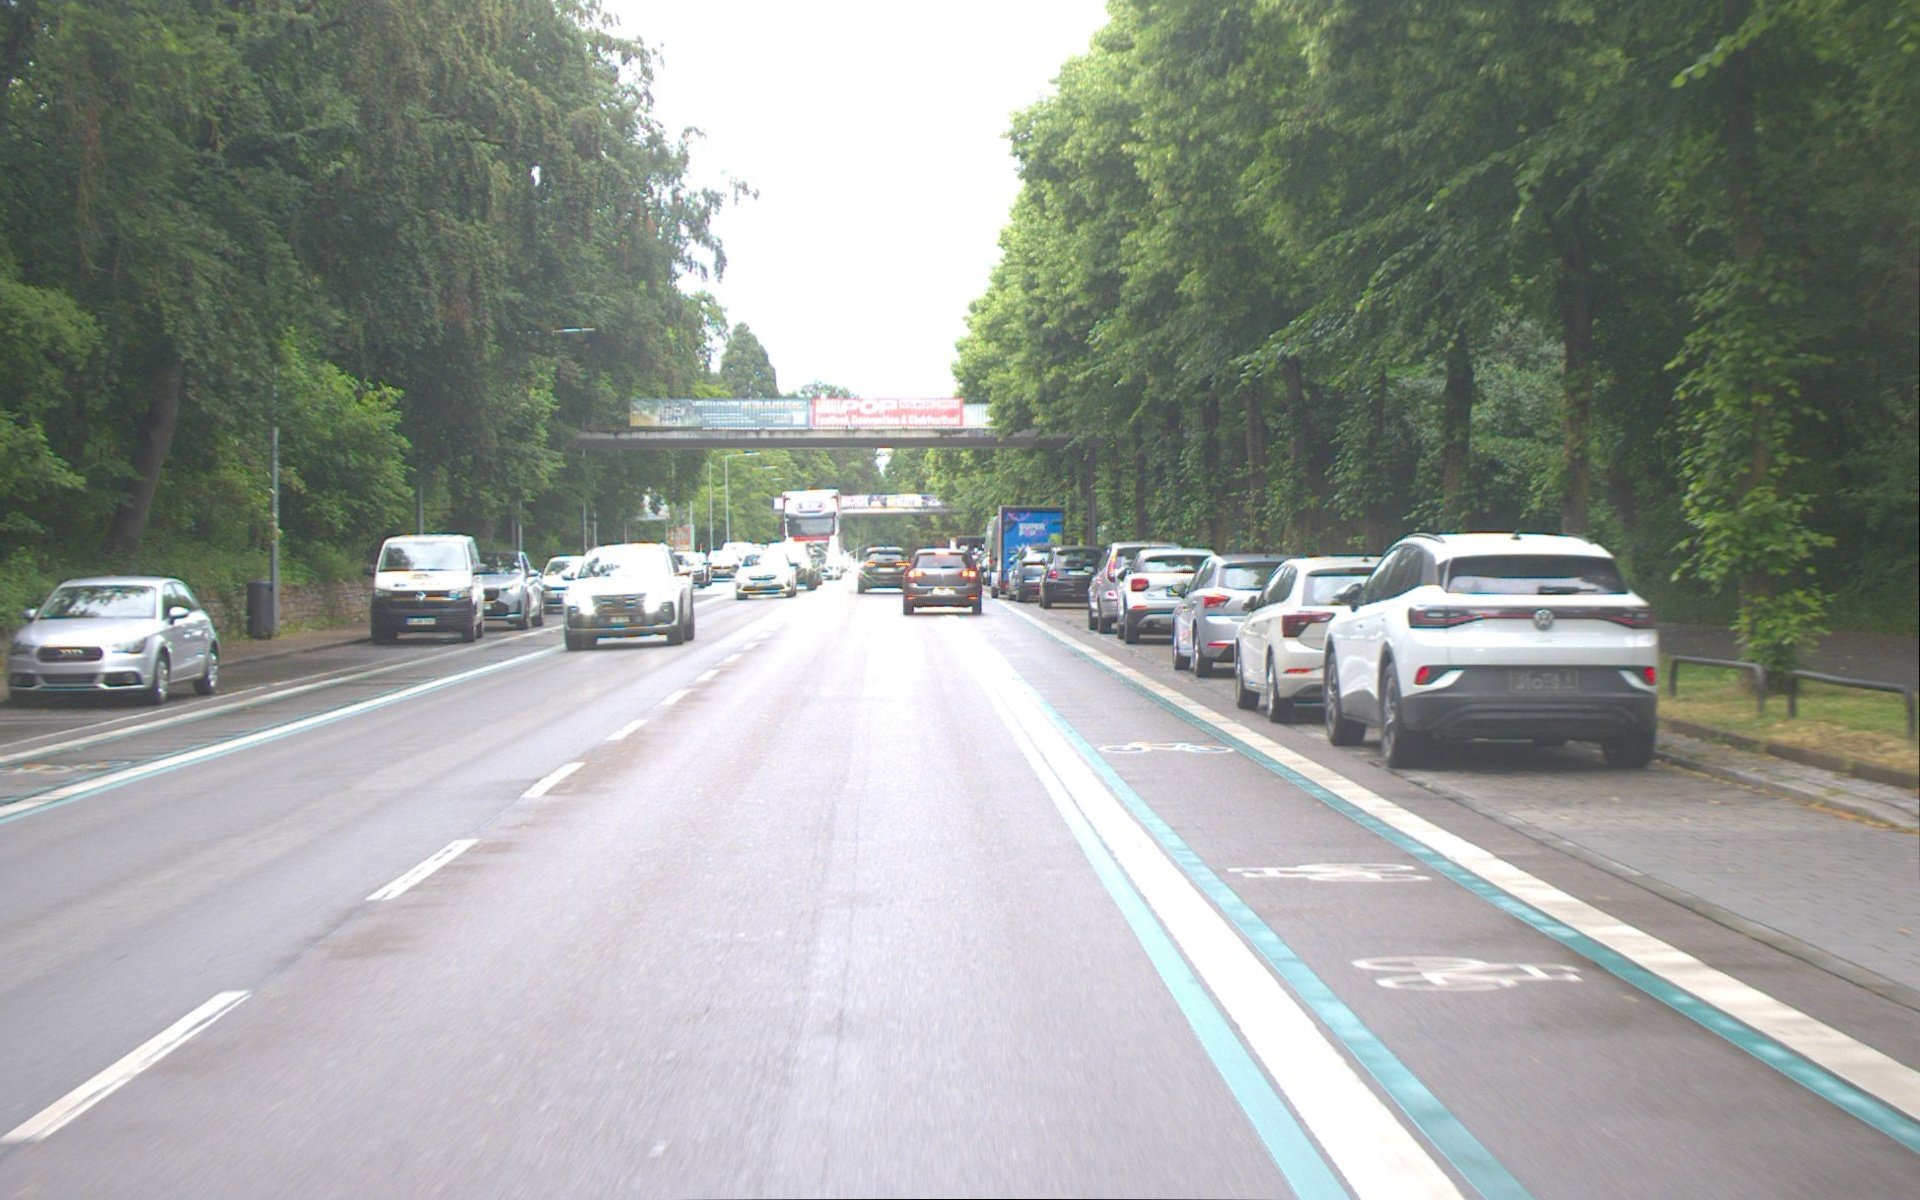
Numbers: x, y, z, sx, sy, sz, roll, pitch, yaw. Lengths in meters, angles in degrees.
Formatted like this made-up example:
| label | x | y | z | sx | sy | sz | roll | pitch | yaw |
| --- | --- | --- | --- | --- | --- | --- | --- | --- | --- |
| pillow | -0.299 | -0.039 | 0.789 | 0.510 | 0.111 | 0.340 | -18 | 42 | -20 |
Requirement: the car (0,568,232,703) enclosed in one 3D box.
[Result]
| label | x | y | z | sx | sy | sz | roll | pitch | yaw |
| --- | --- | --- | --- | --- | --- | --- | --- | --- | --- |
| car | -9.585 | 0.366 | 39.259 | 1.690 | 1.400 | 4.028 | 0 | 1 | 0 |

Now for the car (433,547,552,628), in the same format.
| label | x | y | z | sx | sy | sz | roll | pitch | yaw |
| --- | --- | --- | --- | --- | --- | --- | --- | --- | --- |
| car | -9.891 | -0.301 | 73.097 | 2.010 | 1.600 | 4.780 | -1 | 1 | -2 |

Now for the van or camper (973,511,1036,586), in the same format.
| label | x | y | z | sx | sy | sz | roll | pitch | yaw |
| --- | --- | --- | --- | --- | --- | --- | --- | --- | --- |
| van or camper | 1.648 | -1.964 | 130.170 | 2.042 | 2.720 | 6.901 | 1 | 1 | -2 |

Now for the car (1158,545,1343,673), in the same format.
| label | x | y | z | sx | sy | sz | roll | pitch | yaw |
| --- | --- | --- | --- | --- | --- | --- | --- | --- | --- |
| car | 3.466 | 0.067 | 41.608 | 1.698 | 1.448 | 4.098 | 1 | 1 | -3 |

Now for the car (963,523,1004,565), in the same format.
| label | x | y | z | sx | sy | sz | roll | pitch | yaw |
| --- | --- | --- | --- | --- | --- | --- | --- | --- | --- |
| car | 1.144 | -2.785 | 169.695 | 1.926 | 2.015 | 4.664 | 1 | 1 | -1 |

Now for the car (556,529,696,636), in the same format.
| label | x | y | z | sx | sy | sz | roll | pitch | yaw |
| --- | --- | --- | --- | --- | --- | --- | --- | --- | --- |
| car | -5.378 | -0.318 | 55.860 | 1.953 | 1.633 | 4.445 | -1 | 1 | -2 |

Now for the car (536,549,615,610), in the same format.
| label | x | y | z | sx | sy | sz | roll | pitch | yaw |
| --- | --- | --- | --- | --- | --- | --- | --- | --- | --- |
| car | -9.996 | -0.556 | 89.679 | 1.789 | 1.477 | 3.983 | -1 | 1 | -3 |

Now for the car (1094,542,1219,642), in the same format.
| label | x | y | z | sx | sy | sz | roll | pitch | yaw |
| --- | --- | --- | --- | --- | --- | --- | --- | --- | --- |
| car | 3.116 | -0.161 | 55.245 | 1.698 | 1.508 | 4.469 | 1 | 1 | -1 |

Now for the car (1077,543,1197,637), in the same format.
| label | x | y | z | sx | sy | sz | roll | pitch | yaw |
| --- | --- | --- | --- | --- | --- | --- | --- | --- | --- |
| car | 3.116 | -0.211 | 61.172 | 1.753 | 1.591 | 4.740 | 0 | 1 | -2 |

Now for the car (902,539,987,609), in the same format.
| label | x | y | z | sx | sy | sz | roll | pitch | yaw |
| --- | --- | --- | --- | --- | --- | --- | --- | --- | --- |
| car | -0.345 | -0.599 | 76.574 | 1.818 | 1.503 | 4.139 | 1 | 1 | 0 |

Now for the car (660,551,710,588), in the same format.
| label | x | y | z | sx | sy | sz | roll | pitch | yaw |
| --- | --- | --- | --- | --- | --- | --- | --- | --- | --- |
| car | -11.213 | -1.259 | 140.363 | 1.956 | 1.458 | 4.757 | 0 | 1 | -4 |

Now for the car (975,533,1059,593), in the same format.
| label | x | y | z | sx | sy | sz | roll | pitch | yaw |
| --- | --- | --- | --- | --- | --- | --- | --- | --- | --- |
| car | 1.522 | -1.016 | 93.372 | 1.899 | 1.542 | 4.756 | 1 | 1 | -4 |

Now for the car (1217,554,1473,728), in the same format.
| label | x | y | z | sx | sy | sz | roll | pitch | yaw |
| --- | --- | --- | --- | --- | --- | --- | --- | --- | --- |
| car | 3.420 | 0.322 | 31.186 | 1.698 | 1.448 | 3.947 | 1 | 1 | -3 |

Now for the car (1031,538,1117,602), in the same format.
| label | x | y | z | sx | sy | sz | roll | pitch | yaw |
| --- | --- | --- | --- | --- | --- | --- | --- | --- | --- |
| car | 2.773 | -0.759 | 84.416 | 1.825 | 1.498 | 4.571 | -1 | 1 | -2 |

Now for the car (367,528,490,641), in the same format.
| label | x | y | z | sx | sy | sz | roll | pitch | yaw |
| --- | --- | --- | --- | --- | --- | --- | --- | --- | --- |
| car | -9.874 | -0.330 | 64.169 | 1.973 | 1.998 | 5.019 | 0 | 1 | -5 |

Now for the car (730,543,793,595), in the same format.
| label | x | y | z | sx | sy | sz | roll | pitch | yaw |
| --- | --- | --- | --- | --- | --- | --- | --- | --- | --- |
| car | -5.964 | -0.962 | 103.694 | 1.775 | 1.461 | 4.063 | -2 | 1 | -2 |

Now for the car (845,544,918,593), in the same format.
| label | x | y | z | sx | sy | sz | roll | pitch | yaw |
| --- | --- | --- | --- | --- | --- | --- | --- | --- | --- |
| car | -2.488 | -1.018 | 108.159 | 2.140 | 1.487 | 4.499 | 1 | 1 | -3 |

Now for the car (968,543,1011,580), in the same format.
| label | x | y | z | sx | sy | sz | roll | pitch | yaw |
| --- | --- | --- | --- | --- | --- | --- | --- | --- | --- |
| car | 1.296 | -1.689 | 151.284 | 1.756 | 1.584 | 4.499 | 1 | 1 | -1 |

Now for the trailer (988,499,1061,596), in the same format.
| label | x | y | z | sx | sy | sz | roll | pitch | yaw |
| --- | --- | --- | --- | --- | --- | --- | --- | --- | --- |
| trailer | 1.834 | -1.513 | 99.180 | 1.952 | 2.749 | 4.007 | 0 | 1 | -1 |

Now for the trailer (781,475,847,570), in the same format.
| label | x | y | z | sx | sy | sz | roll | pitch | yaw |
| --- | --- | --- | --- | --- | --- | --- | --- | --- | --- |
| trailer | -6.940 | -3.662 | 164.842 | 2.687 | 4.244 | 12.770 | -3 | 1 | -1 |

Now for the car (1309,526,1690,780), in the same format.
| label | x | y | z | sx | sy | sz | roll | pitch | yaw |
| --- | --- | --- | --- | --- | --- | --- | --- | --- | --- |
| car | 3.809 | 0.306 | 25.087 | 1.993 | 1.656 | 4.563 | -1 | 1 | -1 |

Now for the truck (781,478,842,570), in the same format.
| label | x | y | z | sx | sy | sz | roll | pitch | yaw |
| --- | --- | --- | --- | --- | --- | --- | --- | --- | --- |
| truck | -6.799 | -3.476 | 157.937 | 2.517 | 4.032 | 4.917 | -3 | 1 | -2 |

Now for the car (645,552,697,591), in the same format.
| label | x | y | z | sx | sy | sz | roll | pitch | yaw |
| --- | --- | --- | --- | --- | --- | --- | --- | --- | --- |
| car | -11.159 | -1.129 | 132.835 | 1.784 | 1.418 | 4.296 | -1 | 1 | -2 |

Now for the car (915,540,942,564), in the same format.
| label | x | y | z | sx | sy | sz | roll | pitch | yaw |
| --- | --- | --- | --- | --- | --- | --- | --- | --- | --- |
| car | -2.140 | -3.190 | 230.412 | 1.731 | 1.578 | 4.037 | -1 | 1 | -1 |
